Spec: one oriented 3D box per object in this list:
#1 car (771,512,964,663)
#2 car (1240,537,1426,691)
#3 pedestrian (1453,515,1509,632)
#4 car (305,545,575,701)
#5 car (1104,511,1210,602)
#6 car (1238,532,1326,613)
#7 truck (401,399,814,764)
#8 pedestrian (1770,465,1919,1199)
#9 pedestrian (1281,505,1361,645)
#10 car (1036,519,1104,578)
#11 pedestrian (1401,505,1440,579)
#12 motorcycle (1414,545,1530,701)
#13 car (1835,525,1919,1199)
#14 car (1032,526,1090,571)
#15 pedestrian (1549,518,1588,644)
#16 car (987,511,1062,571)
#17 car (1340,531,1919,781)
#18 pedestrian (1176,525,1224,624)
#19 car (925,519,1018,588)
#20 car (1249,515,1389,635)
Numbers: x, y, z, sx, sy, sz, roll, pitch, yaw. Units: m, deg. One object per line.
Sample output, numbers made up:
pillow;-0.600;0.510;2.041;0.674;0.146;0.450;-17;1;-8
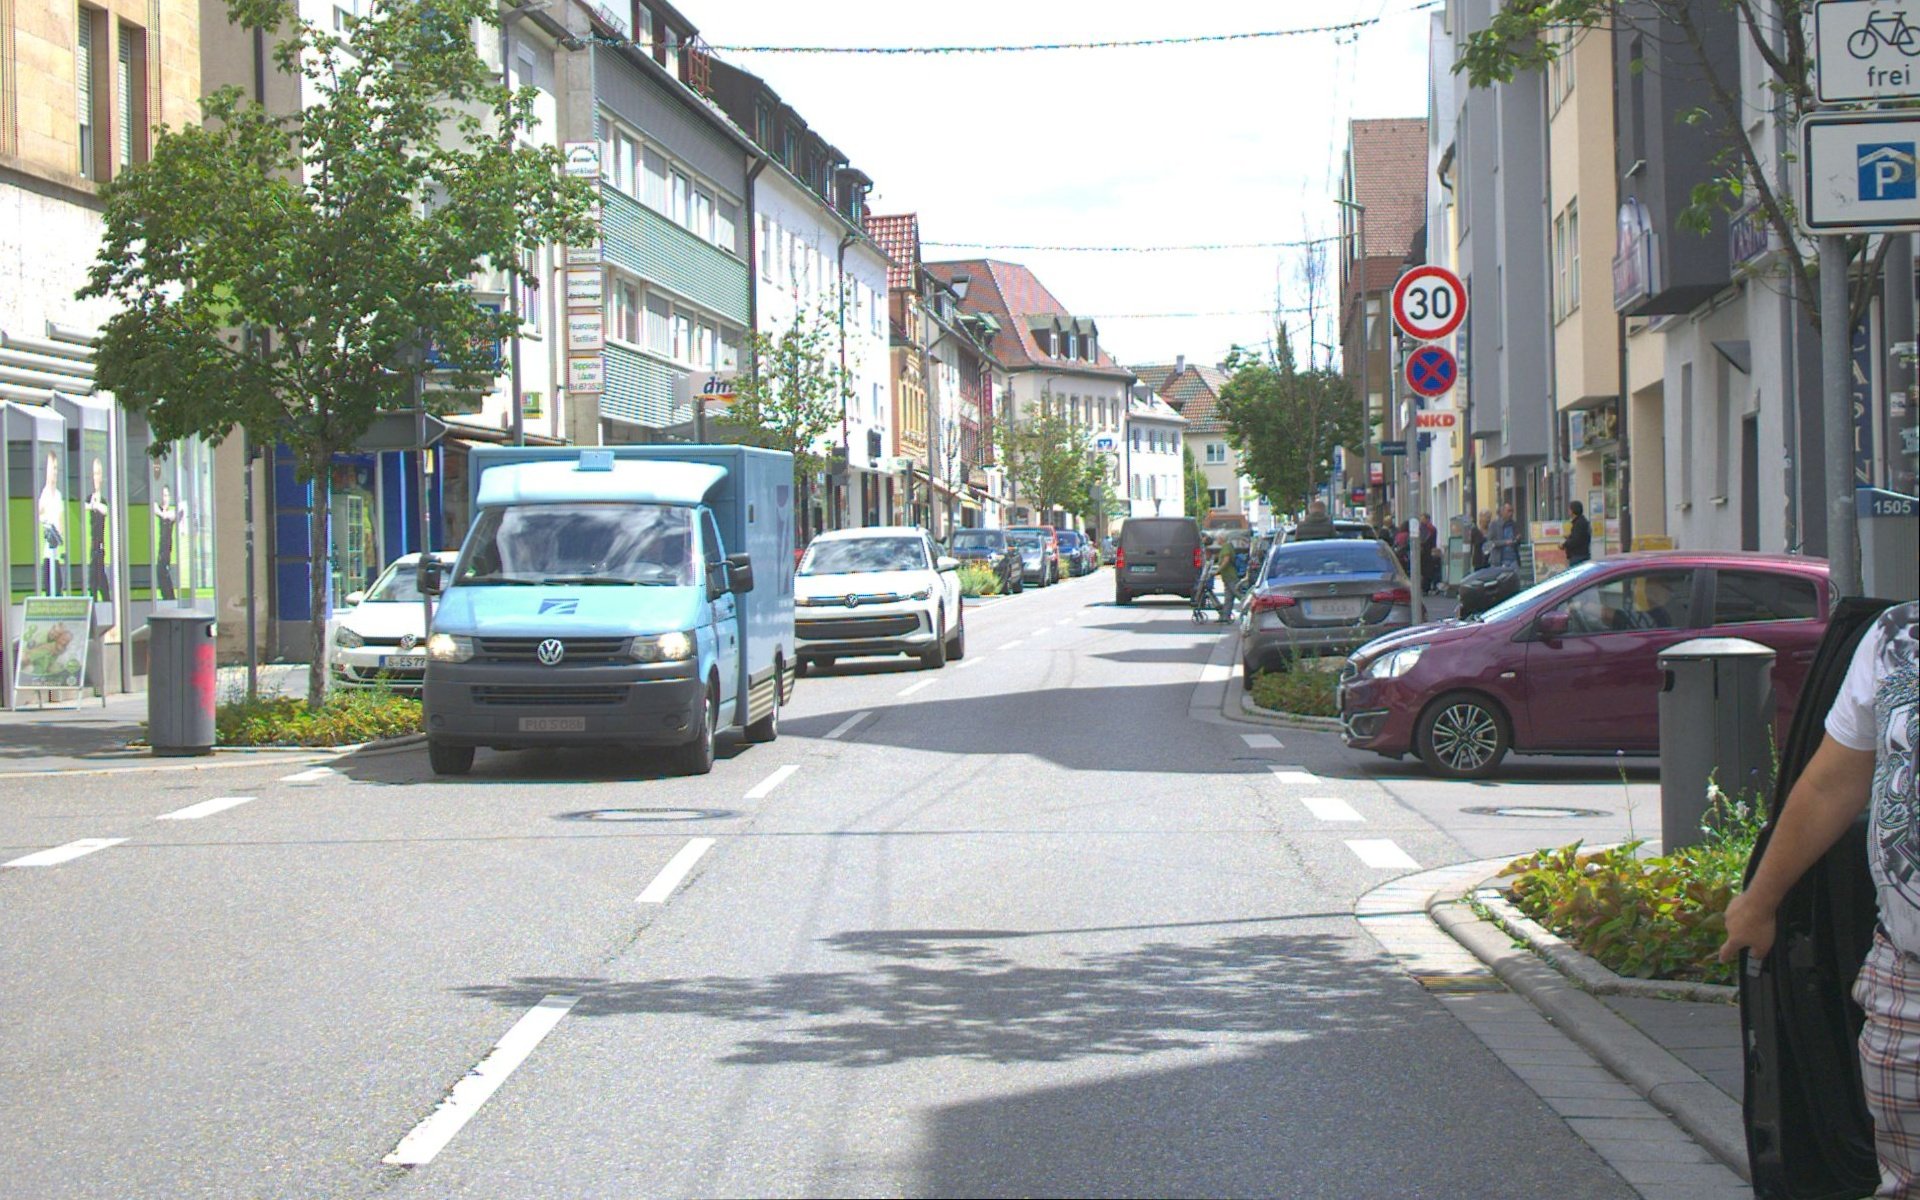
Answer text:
car;-1.022;-0.147;39.866;1.788;1.634;4.115;1;0;5
car;3.758;0.114;34.223;1.707;1.415;4.317;1;0;8
pedestrian;7.715;-0.388;50.940;0.743;1.712;0.656;-1;0;4
car;-4.976;0.197;33.404;1.846;1.393;4.036;1;0;2
car;4.254;-0.916;73.648;2.041;1.842;4.998;1;0;5
car;6.506;-0.577;69.858;1.689;1.467;4.523;1;2;4
truck;-2.390;-0.143;25.150;2.106;2.297;6.475;1;0;2
pedestrian;1.640;0.590;5.505;0.584;1.594;0.547;1;0;22
pedestrian;4.949;-0.345;47.208;0.975;1.857;0.864;-2;0;4
car;3.599;-1.654;111.724;1.816;1.882;4.840;1;0;6
pedestrian;9.650;-1.213;72.078;0.750;1.548;0.726;-1;0;5
motorcycle;4.323;0.179;29.167;0.659;1.255;2.376;1;0;1
car;2.805;0.591;5.654;1.715;1.449;4.552;0;1;2
car;3.668;-1.862;123.804;1.800;1.592;4.388;0;1;5
pedestrian;8.349;-0.256;47.169;0.435;1.712;0.537;1;0;3
car;1.974;-1.762;103.705;1.816;1.749;4.463;1;0;7
car;4.402;0.345;22.431;3.747;1.525;1.537;1;0;4
pedestrian;3.953;-0.425;56.677;0.731;1.612;0.651;1;0;1
car;0.334;-1.220;90.591;1.817;1.749;4.667;1;0;8
car;5.165;-0.390;49.859;1.799;1.598;4.203;-2;1;4
